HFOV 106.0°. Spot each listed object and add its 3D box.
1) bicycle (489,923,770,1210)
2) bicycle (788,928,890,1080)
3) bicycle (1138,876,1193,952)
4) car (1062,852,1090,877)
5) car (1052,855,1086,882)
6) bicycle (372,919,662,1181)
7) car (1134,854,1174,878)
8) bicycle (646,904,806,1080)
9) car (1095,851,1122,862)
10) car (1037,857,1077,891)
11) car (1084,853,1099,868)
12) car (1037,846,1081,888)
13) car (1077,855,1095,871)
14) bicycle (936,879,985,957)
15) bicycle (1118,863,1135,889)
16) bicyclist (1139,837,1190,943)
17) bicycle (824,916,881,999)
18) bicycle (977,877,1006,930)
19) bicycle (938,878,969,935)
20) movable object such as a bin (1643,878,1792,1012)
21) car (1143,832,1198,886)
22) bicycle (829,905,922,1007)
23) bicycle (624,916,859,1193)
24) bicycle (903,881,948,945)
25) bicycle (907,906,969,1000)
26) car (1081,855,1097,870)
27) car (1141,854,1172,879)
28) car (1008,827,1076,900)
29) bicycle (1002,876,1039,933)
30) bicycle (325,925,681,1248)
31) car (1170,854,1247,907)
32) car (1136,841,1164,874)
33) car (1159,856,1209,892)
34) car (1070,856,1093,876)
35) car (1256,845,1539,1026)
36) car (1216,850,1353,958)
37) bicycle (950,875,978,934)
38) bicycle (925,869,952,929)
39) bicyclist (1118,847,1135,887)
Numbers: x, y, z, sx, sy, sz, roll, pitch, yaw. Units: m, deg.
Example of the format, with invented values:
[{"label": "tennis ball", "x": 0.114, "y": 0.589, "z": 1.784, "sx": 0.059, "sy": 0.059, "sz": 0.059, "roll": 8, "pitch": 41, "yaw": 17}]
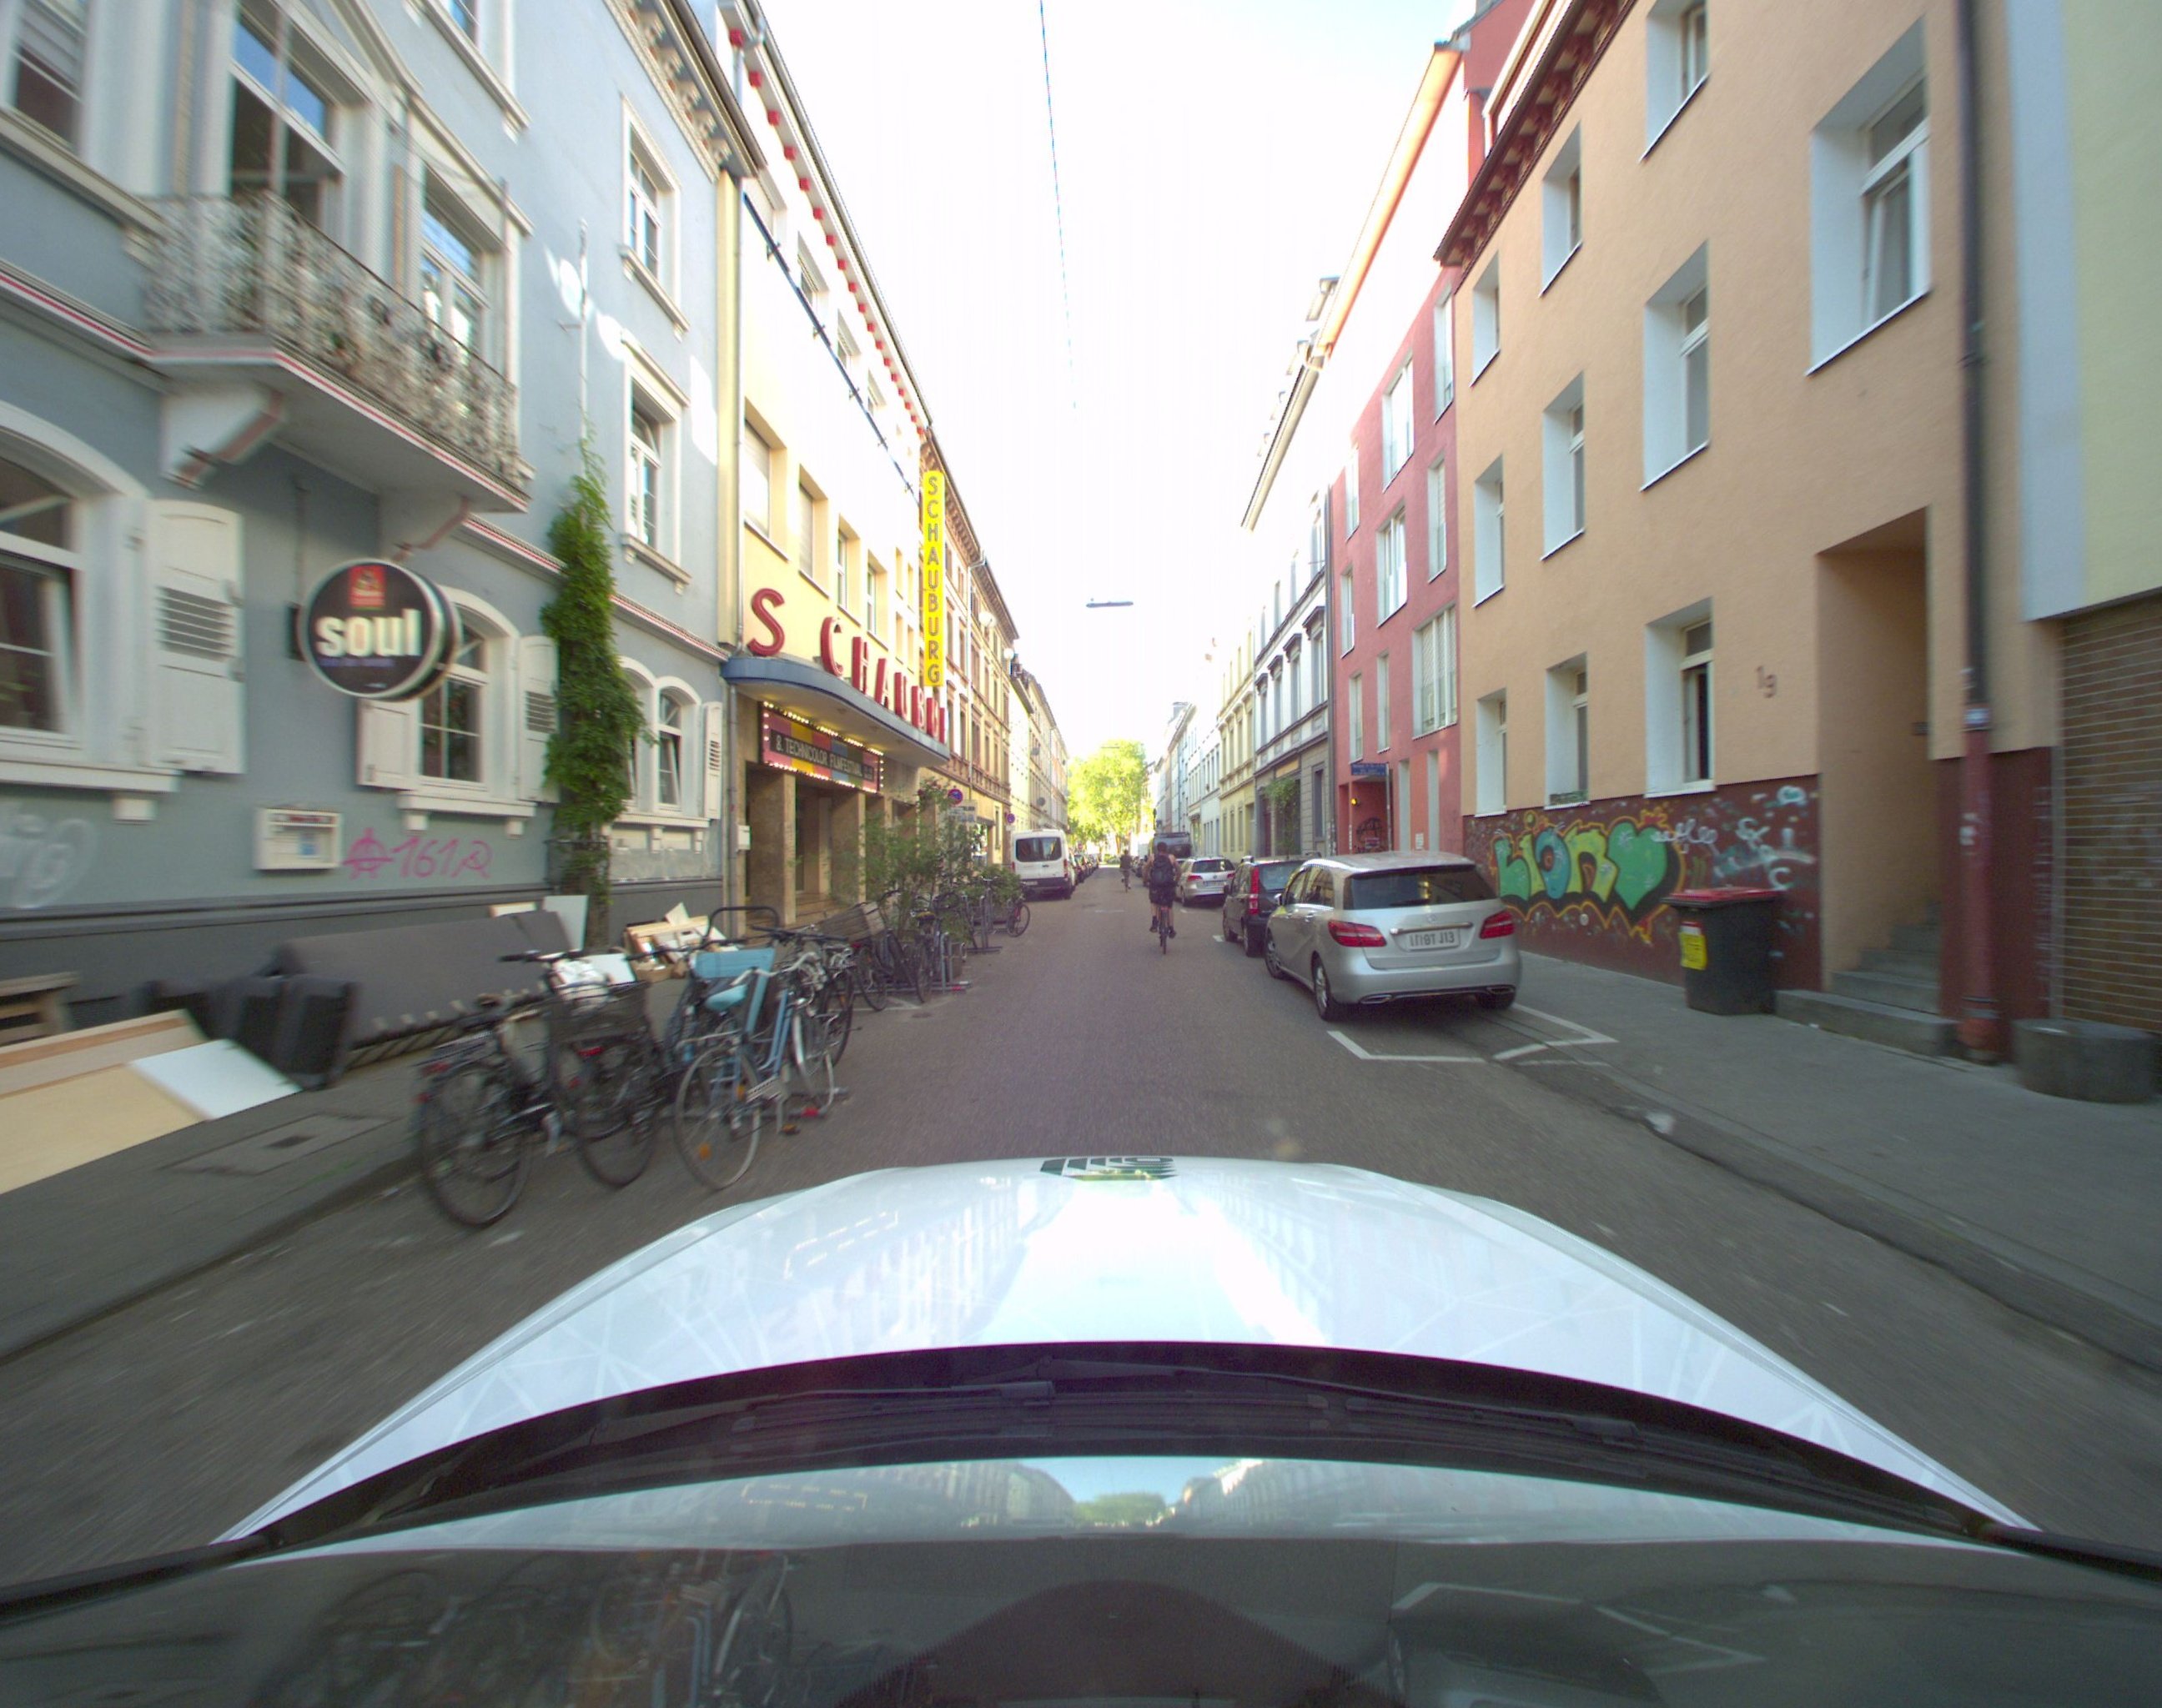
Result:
[{"label": "bicycle", "x": -2.368, "y": 1.020, "z": 4.572, "sx": 0.441, "sy": 1.105, "sz": 1.932, "roll": 0, "pitch": 0, "yaw": 2}, {"label": "bicycle", "x": -1.797, "y": 1.081, "z": 6.191, "sx": 0.320, "sy": 0.916, "sz": 1.291, "roll": -1, "pitch": 0, "yaw": 3}, {"label": "bicycle", "x": 1.362, "y": 0.945, "z": 13.432, "sx": 0.737, "sy": 1.100, "sz": 2.043, "roll": 1, "pitch": 0, "yaw": 2}, {"label": "car", "x": -0.332, "y": 0.754, "z": 59.498, "sx": 1.794, "sy": 1.698, "sz": 4.002, "roll": -3, "pitch": 0, "yaw": 2}, {"label": "car", "x": -0.675, "y": 0.848, "z": 48.476, "sx": 1.856, "sy": 1.440, "sz": 4.645, "roll": -1, "pitch": 0, "yaw": 0}, {"label": "bicycle", "x": -3.108, "y": 0.995, "z": 4.709, "sx": 0.441, "sy": 1.105, "sz": 1.698, "roll": 0, "pitch": 0, "yaw": 2}, {"label": "car", "x": 5.074, "y": 0.781, "z": 57.247, "sx": 1.810, "sy": 1.478, "sz": 4.596, "roll": -4, "pitch": 1, "yaw": -7}, {"label": "bicycle", "x": -2.649, "y": 0.994, "z": 6.182, "sx": 0.810, "sy": 1.175, "sz": 0.920, "roll": 0, "pitch": 0, "yaw": 0}, {"label": "car", "x": 4.694, "y": 0.400, "z": 138.395, "sx": 4.458, "sy": 1.759, "sz": 1.865, "roll": -1, "pitch": 0, "yaw": -3}, {"label": "car", "x": -1.035, "y": 0.863, "z": 37.187, "sx": 1.640, "sy": 1.447, "sz": 3.840, "roll": -1, "pitch": 0, "yaw": 0}, {"label": "car", "x": 1.319, "y": 0.737, "z": 99.039, "sx": 1.781, "sy": 1.737, "sz": 3.877, "roll": -1, "pitch": 0, "yaw": 2}, {"label": "car", "x": -1.065, "y": 0.628, "z": 41.788, "sx": 1.820, "sy": 1.892, "sz": 4.616, "roll": -3, "pitch": 0, "yaw": 2}, {"label": "car", "x": 0.487, "y": 0.873, "z": 79.467, "sx": 1.599, "sy": 1.530, "sz": 3.379, "roll": -2, "pitch": 0, "yaw": 0}, {"label": "bicycle", "x": -1.906, "y": 0.985, "z": 13.075, "sx": 0.544, "sy": 1.094, "sz": 1.880, "roll": 1, "pitch": 0, "yaw": -2}, {"label": "bicycle", "x": 1.896, "y": 0.913, "z": 34.164, "sx": 0.661, "sy": 1.037, "sz": 1.960, "roll": -1, "pitch": 0, "yaw": 2}, {"label": "bicyclist", "x": 1.363, "y": 0.568, "z": 13.450, "sx": 0.737, "sy": 1.679, "sz": 1.117, "roll": 1, "pitch": 0, "yaw": 2}, {"label": "bicycle", "x": -2.687, "y": 1.199, "z": 9.664, "sx": 0.255, "sy": 0.817, "sz": 1.300, "roll": 0, "pitch": 0, "yaw": 3}, {"label": "bicycle", "x": -1.927, "y": 1.046, "z": 17.675, "sx": 0.441, "sy": 1.047, "sz": 1.864, "roll": 1, "pitch": 0, "yaw": -2}, {"label": "bicycle", "x": -2.494, "y": 1.010, "z": 16.022, "sx": 0.416, "sy": 1.047, "sz": 1.317, "roll": 1, "pitch": 0, "yaw": -1}, {"label": "movable object such as a bin", "x": 5.547, "y": 0.766, "z": 7.145, "sx": 0.689, "sy": 1.058, "sz": 0.737, "roll": -3, "pitch": 0, "yaw": 2}, {"label": "car", "x": 4.417, "y": 0.252, "z": 41.148, "sx": 2.167, "sy": 2.425, "sz": 6.311, "roll": -2, "pitch": 0, "yaw": 2}, {"label": "bicycle", "x": -2.252, "y": 1.092, "z": 9.101, "sx": 0.551, "sy": 0.944, "sz": 1.573, "roll": -1, "pitch": 0, "yaw": 3}, {"label": "bicycle", "x": -1.782, "y": 0.976, "z": 4.593, "sx": 0.497, "sy": 1.105, "sz": 1.830, "roll": 0, "pitch": 0, "yaw": 2}, {"label": "bicycle", "x": -2.734, "y": 1.016, "z": 14.443, "sx": 0.572, "sy": 1.045, "sz": 1.408, "roll": 0, "pitch": 0, "yaw": -2}, {"label": "bicycle", "x": -1.633, "y": 1.107, "z": 9.435, "sx": 0.388, "sy": 0.916, "sz": 1.394, "roll": -1, "pitch": 0, "yaw": 3}, {"label": "car", "x": 0.843, "y": 0.862, "z": 86.839, "sx": 1.540, "sy": 1.550, "sz": 3.463, "roll": -1, "pitch": 0, "yaw": -1}, {"label": "car", "x": 4.805, "y": 0.794, "z": 52.467, "sx": 1.739, "sy": 1.485, "sz": 4.245, "roll": -1, "pitch": 0, "yaw": 2}, {"label": "car", "x": -1.363, "y": 0.338, "z": 31.139, "sx": 2.160, "sy": 2.452, "sz": 5.922, "roll": -2, "pitch": 0, "yaw": 1}, {"label": "bicycle", "x": -1.254, "y": 1.008, "z": 16.592, "sx": 0.461, "sy": 1.047, "sz": 1.742, "roll": 1, "pitch": 0, "yaw": -14}, {"label": "bicycle", "x": -2.734, "y": 0.996, "z": 4.142, "sx": 0.442, "sy": 1.105, "sz": 1.874, "roll": 0, "pitch": 0, "yaw": 1}, {"label": "car", "x": 3.951, "y": 0.776, "z": 26.016, "sx": 1.780, "sy": 1.454, "sz": 4.548, "roll": -4, "pitch": 0, "yaw": 1}, {"label": "car", "x": 5.716, "y": 0.265, "z": 67.736, "sx": 2.194, "sy": 2.551, "sz": 6.043, "roll": -1, "pitch": 0, "yaw": 4}, {"label": "car", "x": 4.352, "y": 0.819, "z": 34.911, "sx": 1.740, "sy": 1.444, "sz": 4.174, "roll": 0, "pitch": 0, "yaw": 2}, {"label": "car", "x": 0.052, "y": 0.920, "z": 64.469, "sx": 1.585, "sy": 1.440, "sz": 3.656, "roll": -1, "pitch": 0, "yaw": 3}, {"label": "car", "x": 3.187, "y": 0.710, "z": 9.146, "sx": 1.739, "sy": 1.556, "sz": 4.175, "roll": -1, "pitch": 0, "yaw": 3}, {"label": "car", "x": 3.339, "y": 0.750, "z": 13.961, "sx": 1.595, "sy": 1.539, "sz": 3.453, "roll": -3, "pitch": 0, "yaw": 3}, {"label": "bicycle", "x": -2.512, "y": 1.074, "z": 17.661, "sx": 0.398, "sy": 1.174, "sz": 1.668, "roll": 1, "pitch": 0, "yaw": -2}, {"label": "bicycle", "x": -3.011, "y": 0.924, "z": 17.255, "sx": 0.338, "sy": 1.174, "sz": 1.489, "roll": 1, "pitch": 0, "yaw": -2}, {"label": "bicyclist", "x": 1.888, "y": 0.549, "z": 34.163, "sx": 0.667, "sy": 1.658, "sz": 0.877, "roll": -1, "pitch": 0, "yaw": 2}]
